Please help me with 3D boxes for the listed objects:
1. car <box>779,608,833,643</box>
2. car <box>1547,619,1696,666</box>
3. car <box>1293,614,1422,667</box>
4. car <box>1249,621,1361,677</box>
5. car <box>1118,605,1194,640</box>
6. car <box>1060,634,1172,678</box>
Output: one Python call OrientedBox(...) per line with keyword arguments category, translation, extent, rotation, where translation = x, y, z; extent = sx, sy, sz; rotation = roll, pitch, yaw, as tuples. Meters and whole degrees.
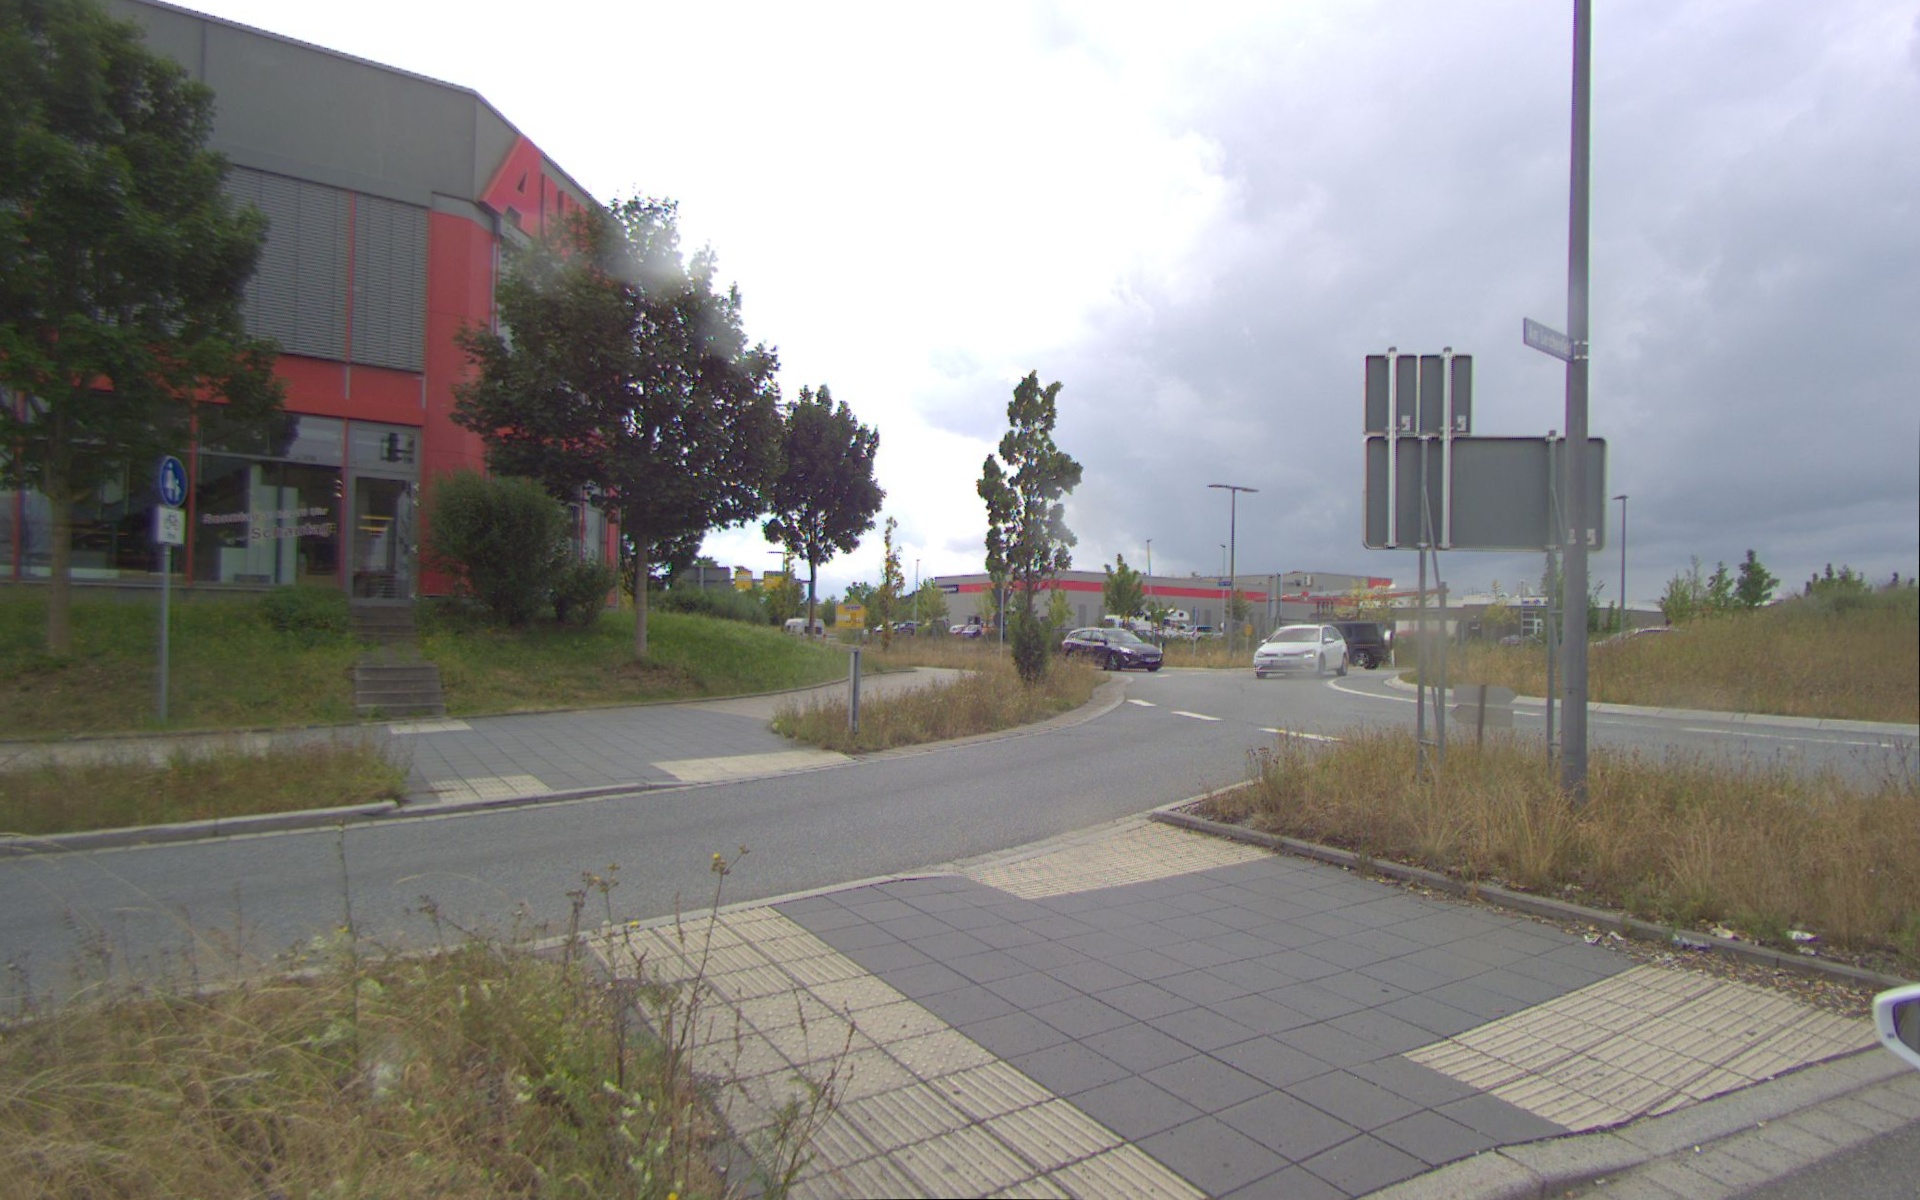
OrientedBox(category="car", translation=(-12.008, 1.927, 77.964), extent=(2.253, 2.418, 5.670), rotation=(3, -1, -28))
OrientedBox(category="car", translation=(23.378, 1.513, 35.619), extent=(4.003, 1.578, 1.735), rotation=(-1, -2, 8))
OrientedBox(category="car", translation=(15.899, 1.598, 40.195), extent=(4.559, 1.776, 1.725), rotation=(3, -1, 29))
OrientedBox(category="car", translation=(9.770, 1.323, 28.223), extent=(1.700, 1.427, 4.627), rotation=(-1, -1, 36))
OrientedBox(category="car", translation=(18.437, 2.106, 94.306), extent=(7.617, 2.857, 2.446), rotation=(4, -1, -36))
OrientedBox(category="car", translation=(5.318, 1.908, 34.590), extent=(1.664, 1.267, 3.551), rotation=(4, -1, -41))
